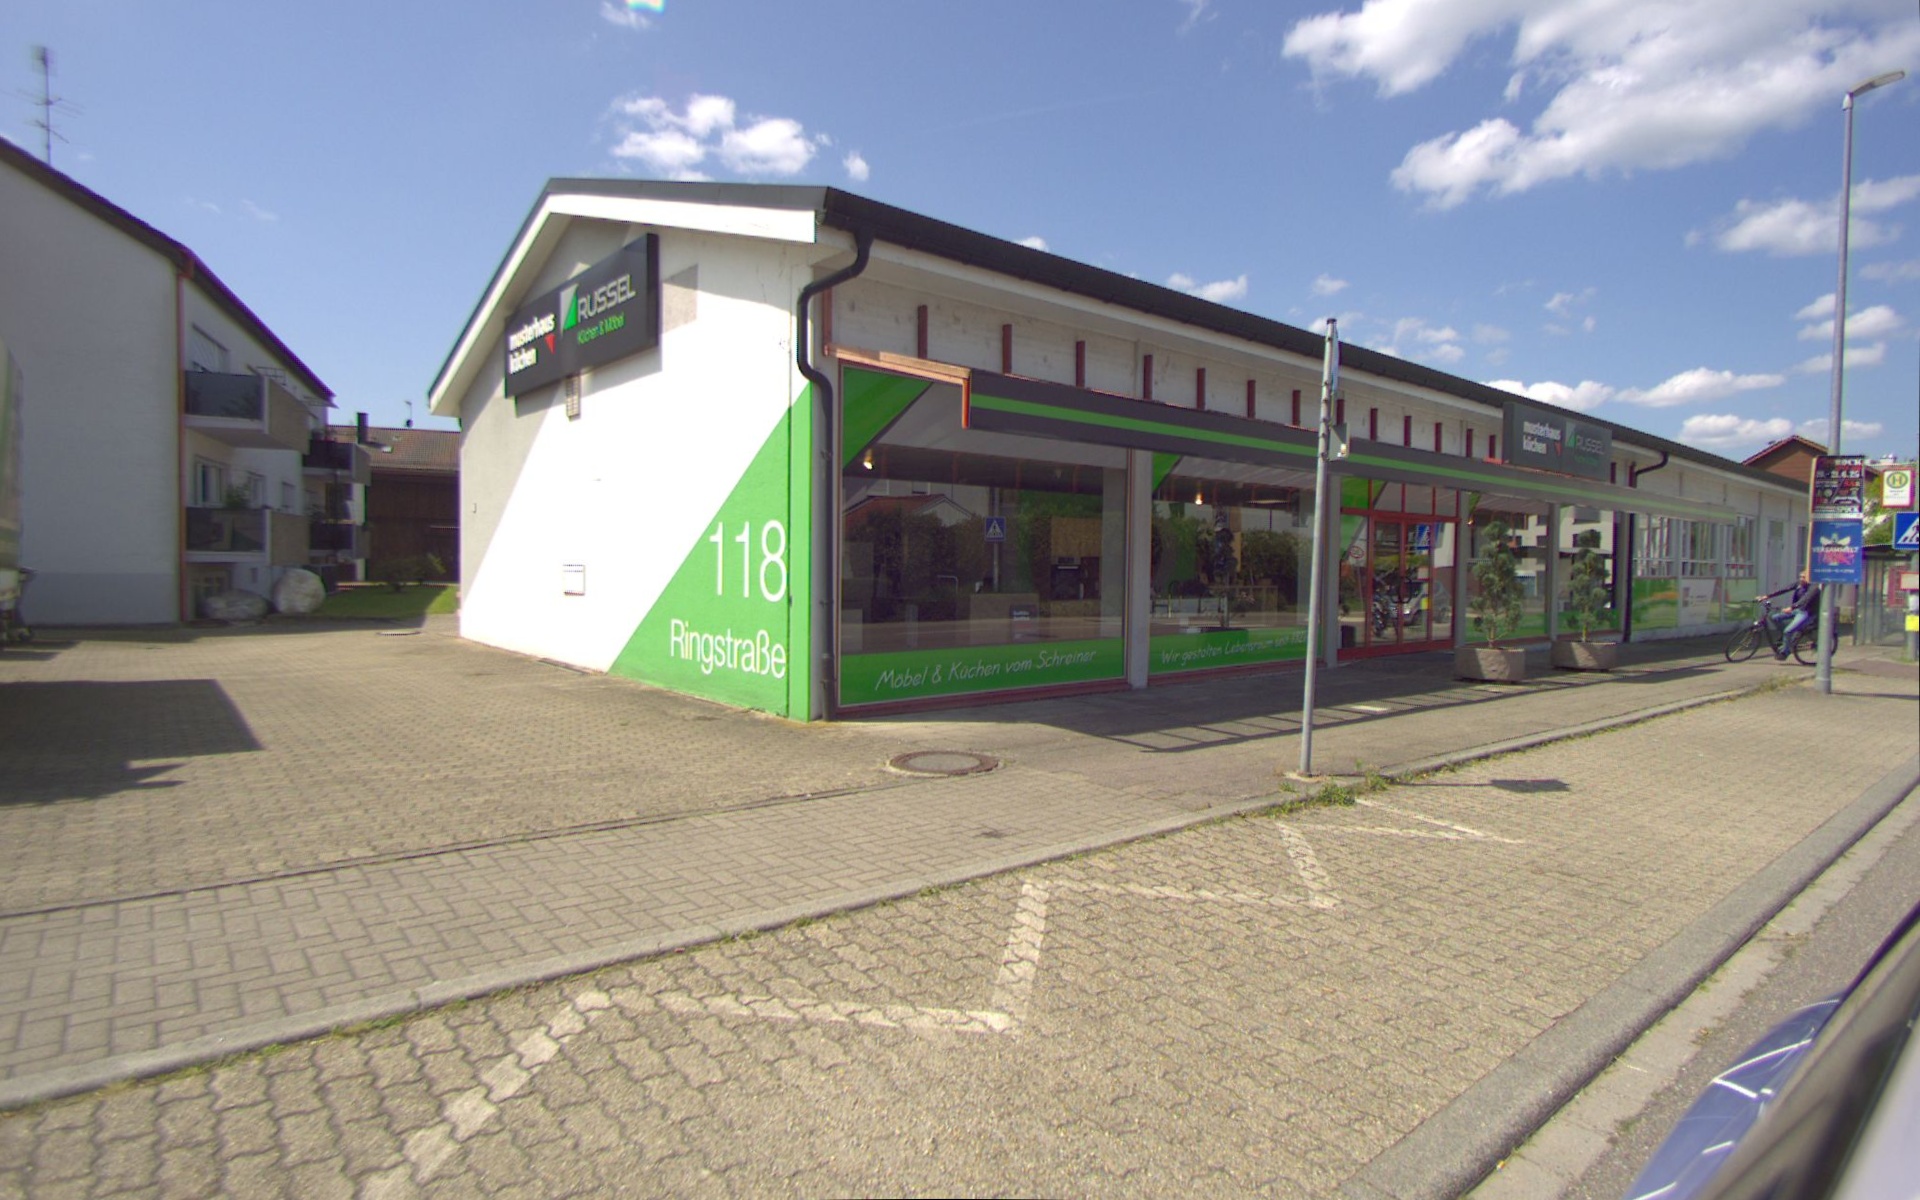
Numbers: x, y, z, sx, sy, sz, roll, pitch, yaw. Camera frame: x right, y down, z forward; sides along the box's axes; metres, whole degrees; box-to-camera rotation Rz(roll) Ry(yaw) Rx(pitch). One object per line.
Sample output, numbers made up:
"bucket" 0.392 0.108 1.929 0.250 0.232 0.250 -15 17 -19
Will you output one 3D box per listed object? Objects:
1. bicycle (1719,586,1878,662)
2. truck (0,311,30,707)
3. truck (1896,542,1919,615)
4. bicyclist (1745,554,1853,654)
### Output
"bicycle" 14.595 0.396 17.674 1.913 1.179 0.803 3 3 12
"truck" -9.157 -0.838 7.667 2.631 3.616 8.188 -2 3 -40
"truck" 39.371 -0.826 40.494 2.574 2.795 6.235 4 4 44
"bicyclist" 14.639 0.045 17.688 1.094 1.649 0.803 3 3 12
